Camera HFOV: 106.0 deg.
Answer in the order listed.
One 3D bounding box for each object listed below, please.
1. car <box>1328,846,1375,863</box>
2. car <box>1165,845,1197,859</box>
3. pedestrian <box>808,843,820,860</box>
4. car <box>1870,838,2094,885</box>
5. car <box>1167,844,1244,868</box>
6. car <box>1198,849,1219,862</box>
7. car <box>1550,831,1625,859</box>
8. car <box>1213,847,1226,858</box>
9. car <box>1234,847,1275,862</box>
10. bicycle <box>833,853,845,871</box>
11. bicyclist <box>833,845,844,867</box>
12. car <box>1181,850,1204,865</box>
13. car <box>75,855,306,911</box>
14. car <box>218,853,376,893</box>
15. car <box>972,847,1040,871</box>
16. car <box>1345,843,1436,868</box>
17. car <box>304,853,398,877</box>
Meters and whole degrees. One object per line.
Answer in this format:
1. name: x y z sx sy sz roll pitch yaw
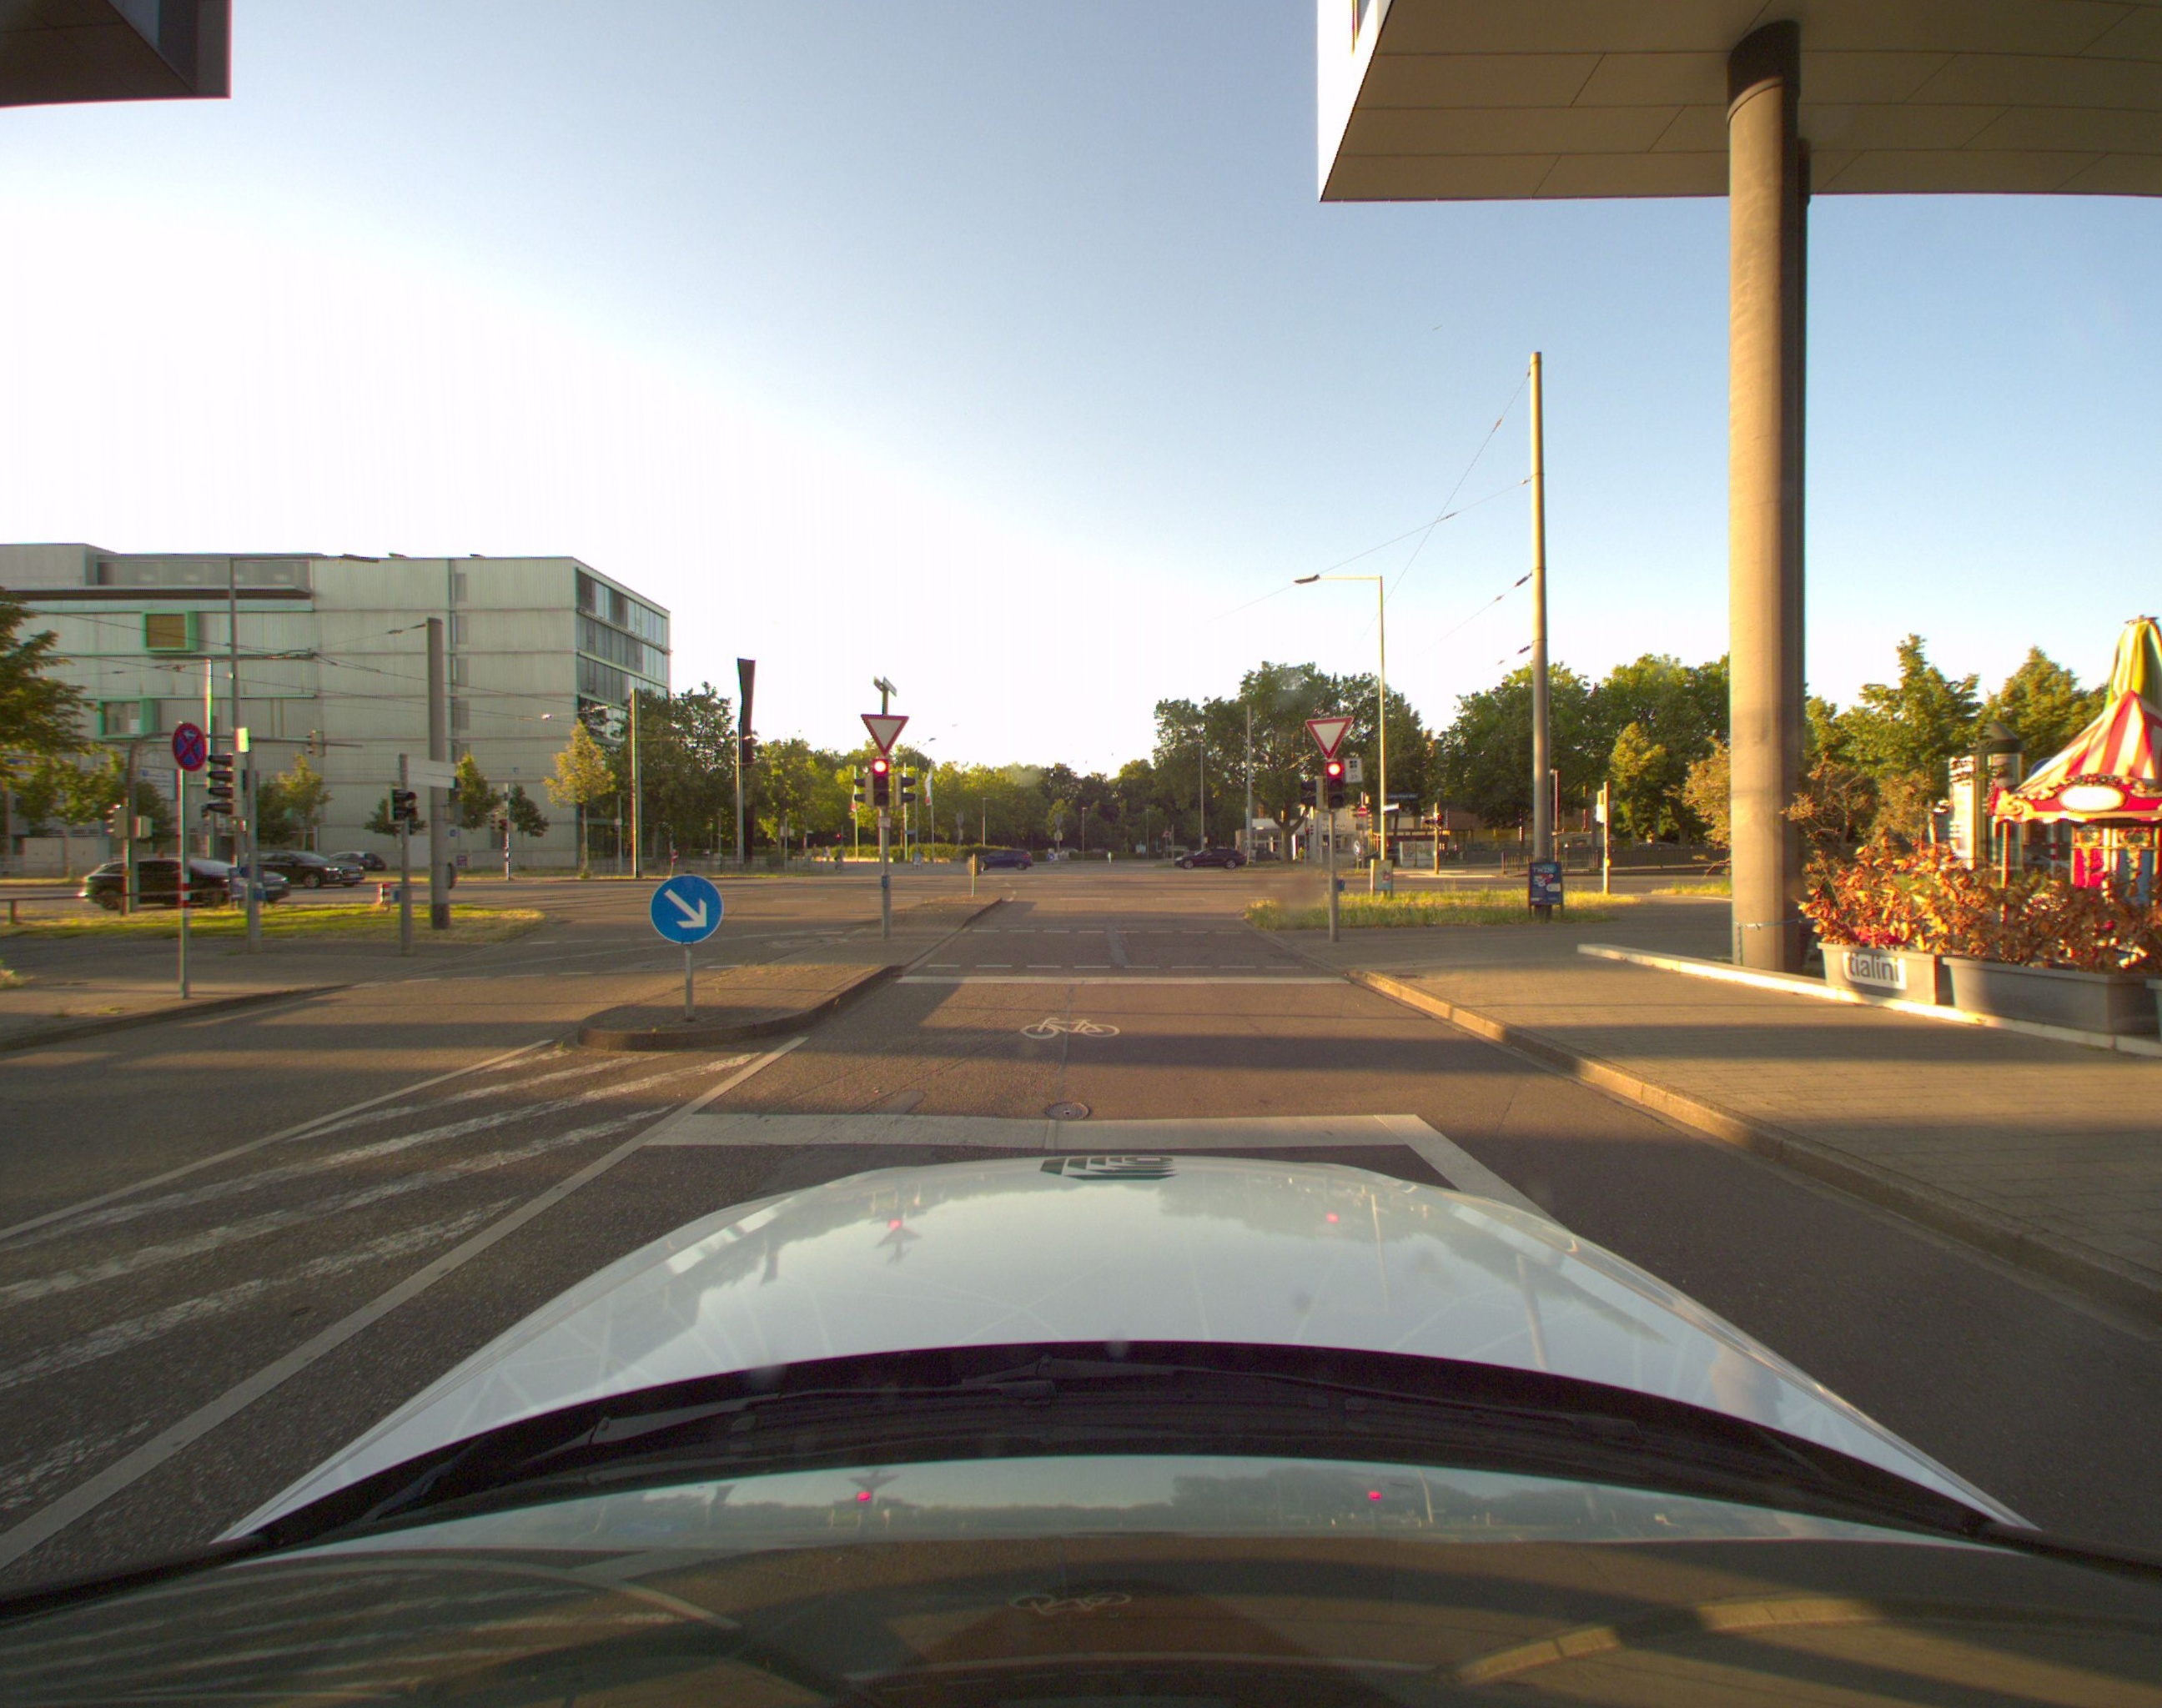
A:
1. car: 23.826 0.076 71.878 3.715 1.440 1.669 -1 -1 11
2. car: 15.409 -0.323 125.730 4.753 2.006 2.002 -1 -1 3
3. pedestrian: -27.239 -0.238 83.025 0.852 1.744 0.835 -1 0 39
4. car: 30.645 0.240 27.872 4.976 1.511 1.994 -1 0 10
5. car: 8.655 0.162 56.801 5.082 1.552 2.000 -1 -1 1
6. car: 16.203 0.222 103.180 1.978 1.662 4.018 -1 -1 17
7. car: 47.875 -0.830 77.072 5.561 2.551 2.235 -1 0 9
8. car: 22.263 -0.241 130.880 1.850 1.794 4.013 -1 -1 12
9. car: 18.920 0.018 88.901 4.194 1.552 2.005 -1 -1 9
10. bicycle: -18.997 0.597 63.990 0.732 1.341 2.673 -1 0 -20
11. bicyclist: -19.077 0.118 64.133 0.753 1.709 0.914 -1 0 -20
12. car: 13.100 0.384 95.559 1.978 1.662 4.018 -1 -1 17
13. car: -27.857 0.877 25.614 4.894 1.614 1.999 -1 0 -2
14. car: -32.507 0.746 33.892 4.467 1.557 1.986 -1 0 -4
15. car: -5.242 0.346 57.083 4.454 1.552 2.001 -1 -1 3
16. car: 20.288 0.087 53.547 5.206 1.552 2.000 -1 -1 1
17. car: -47.007 0.693 52.521 4.321 1.496 1.802 -1 -1 -3
